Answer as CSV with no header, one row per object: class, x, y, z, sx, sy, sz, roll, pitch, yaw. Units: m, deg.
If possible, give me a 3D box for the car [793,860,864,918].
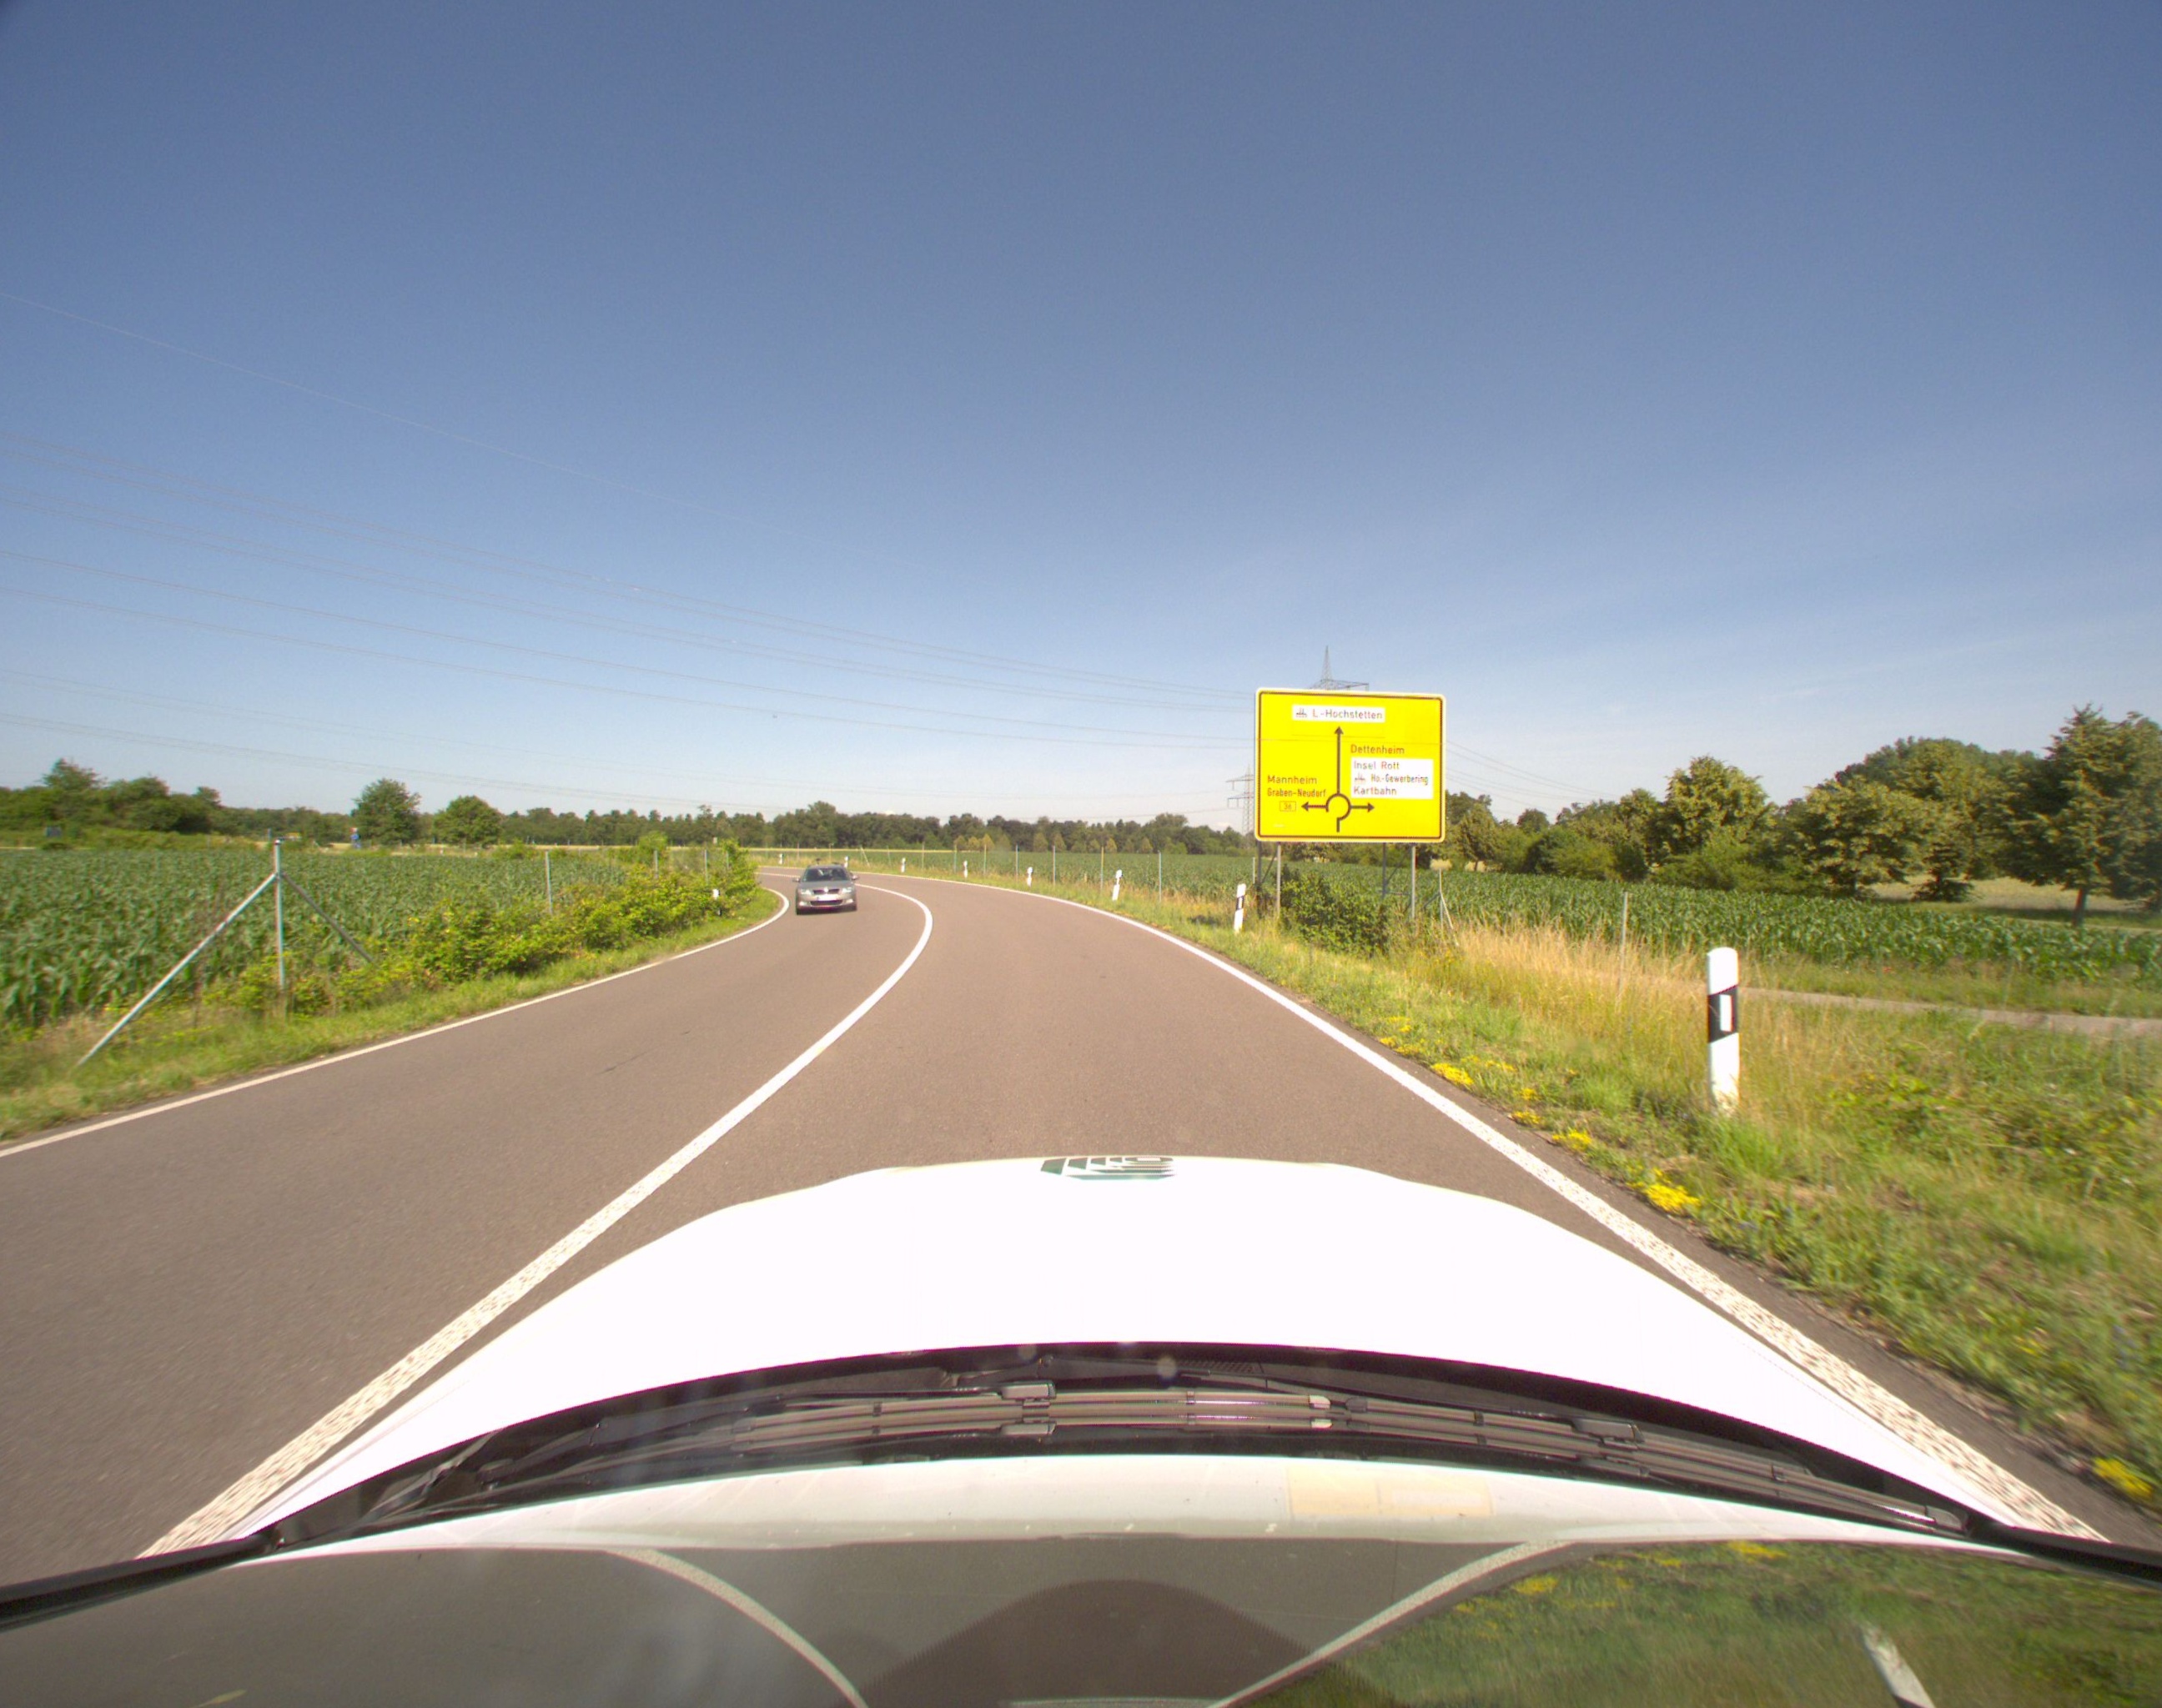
car,-8.015,1.016,25.984,1.871,1.480,5.106,-4,1,-17
